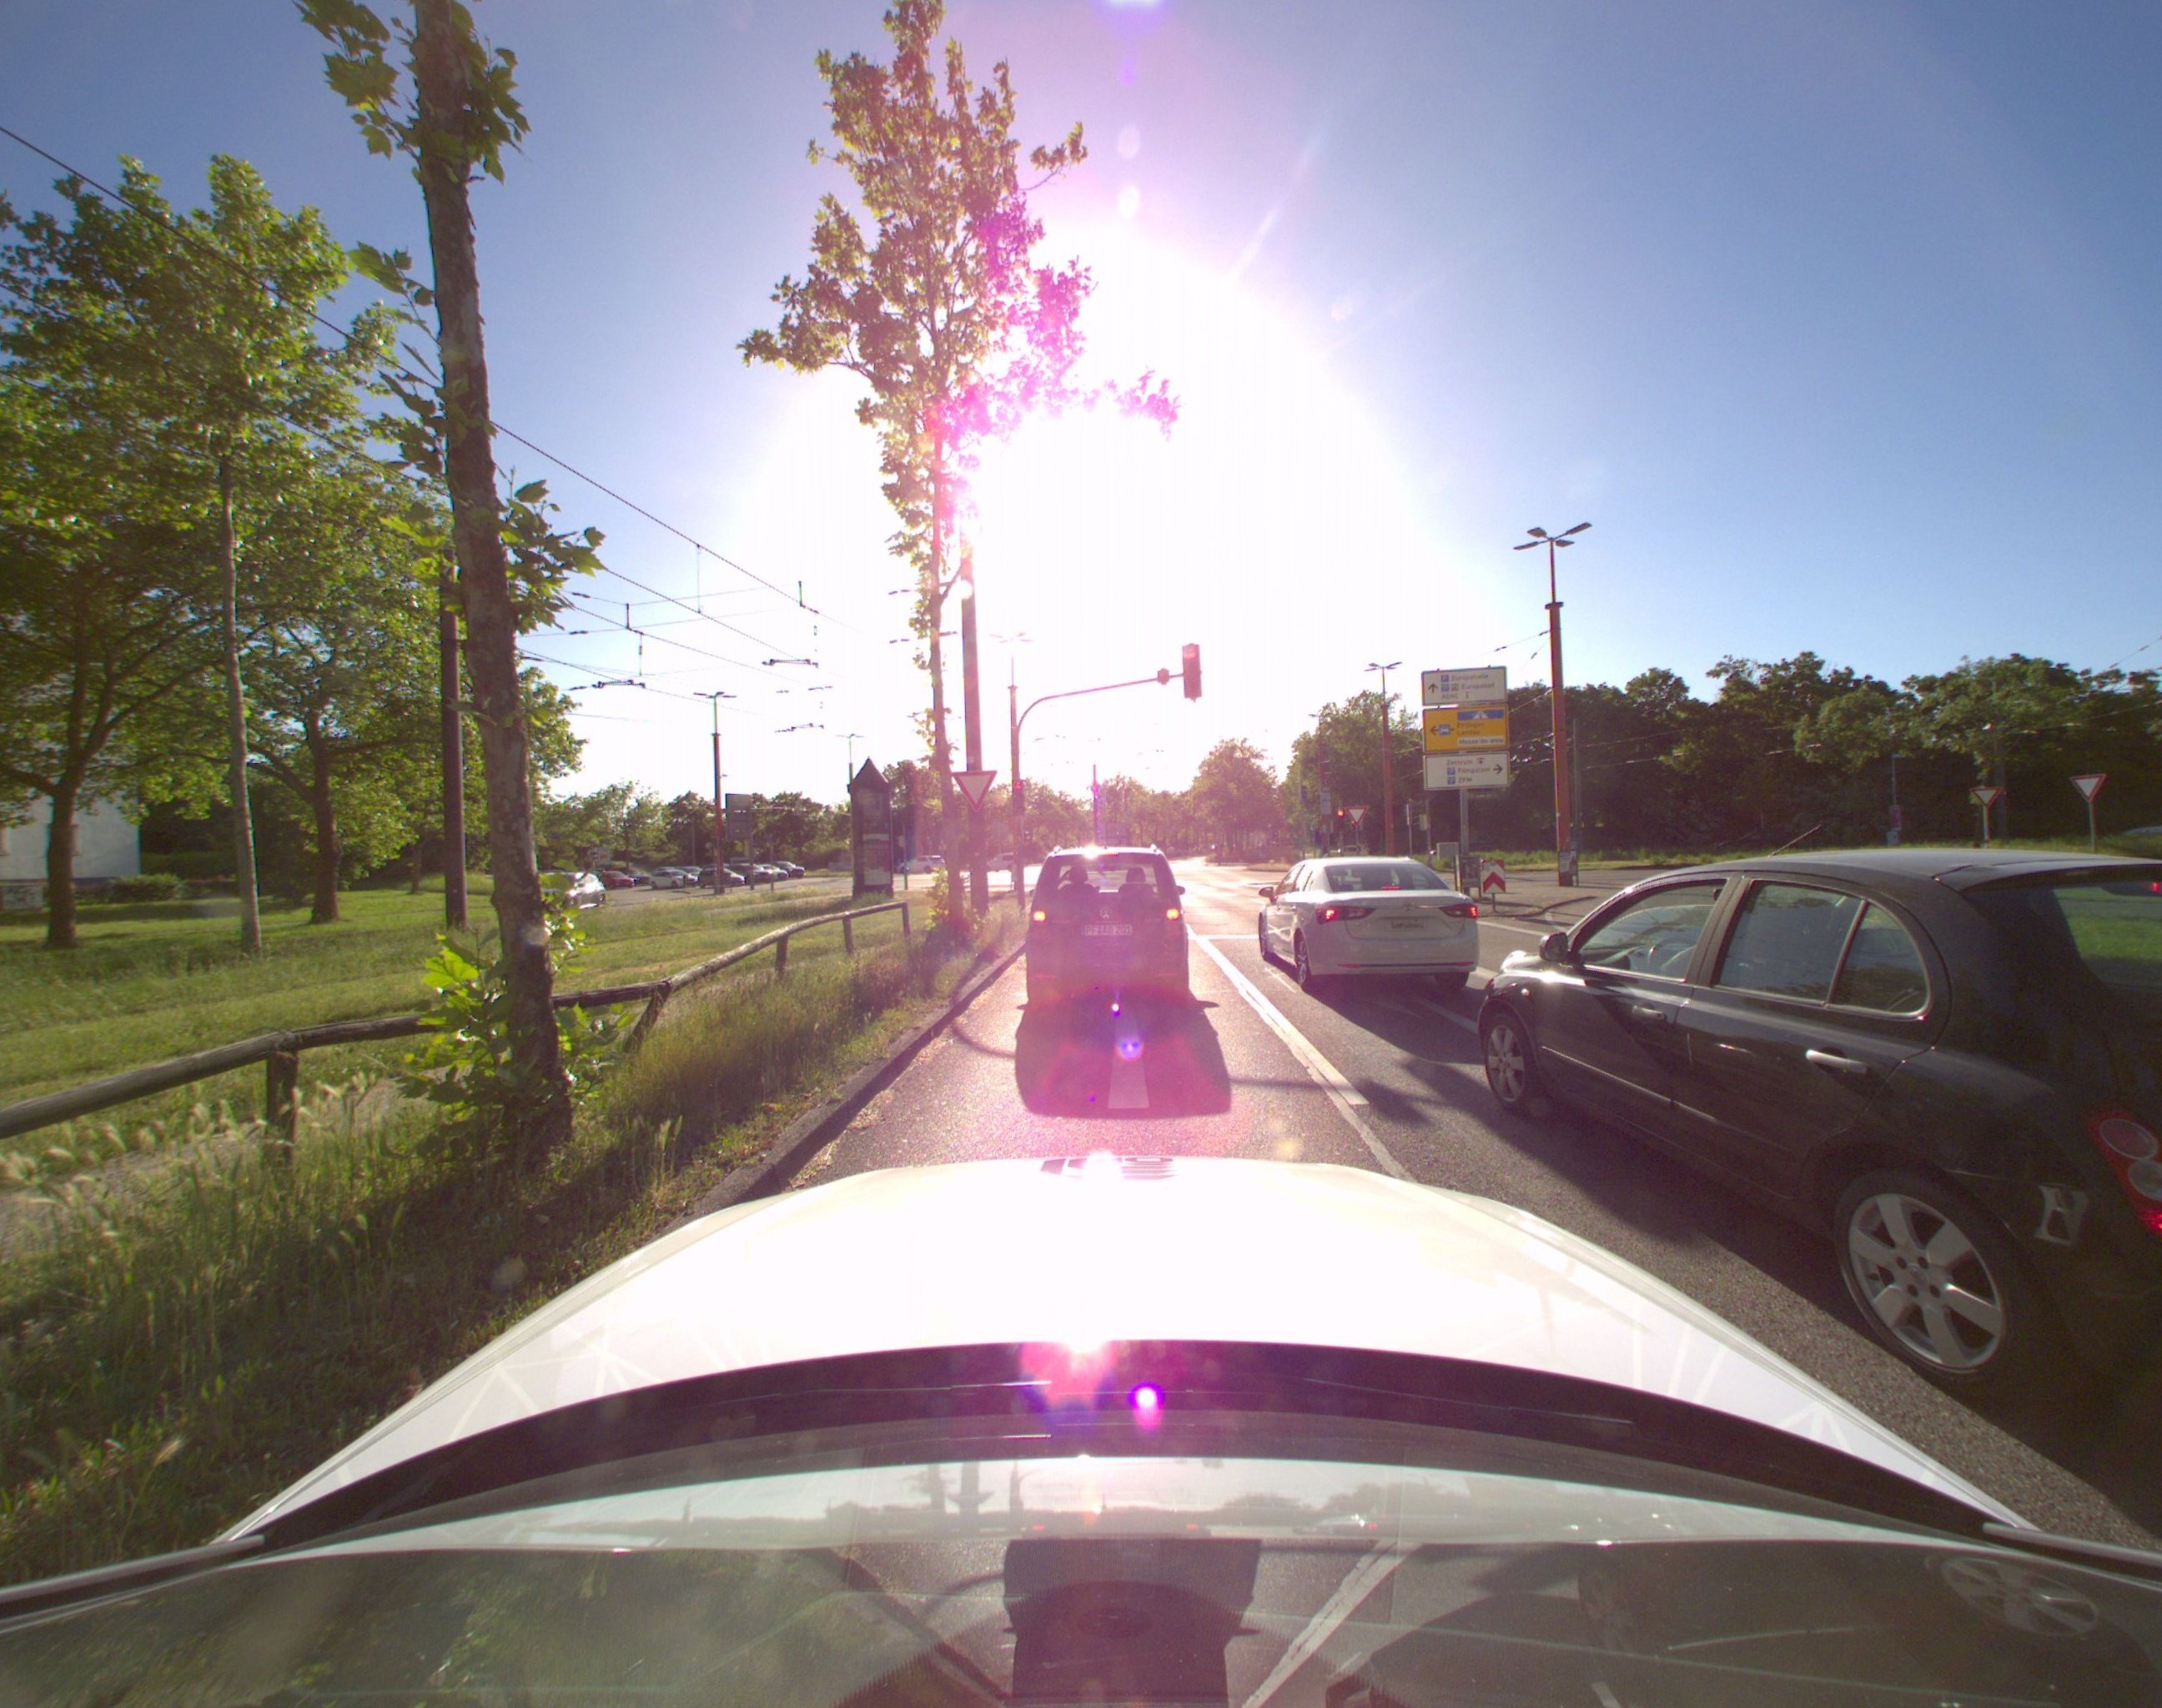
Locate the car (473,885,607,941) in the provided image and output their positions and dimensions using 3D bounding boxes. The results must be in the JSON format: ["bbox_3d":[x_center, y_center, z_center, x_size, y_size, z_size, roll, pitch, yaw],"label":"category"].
[{"bbox_3d":[-18.690,1.984,28.419,1.645,1.618,4.297,-1,0,2],"label":"car"}]

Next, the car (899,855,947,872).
[{"bbox_3d":[-15.483,0.952,79.770,4.616,1.625,1.667,-1,0,28],"label":"car"}]

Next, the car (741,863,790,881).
[{"bbox_3d":[-26.837,1.522,69.186,4.102,1.415,1.553,-1,0,28],"label":"car"}]

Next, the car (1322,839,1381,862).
[{"bbox_3d":[21.290,-0.249,64.192,4.164,1.681,1.667,-1,0,28],"label":"car"}]

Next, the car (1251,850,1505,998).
[{"bbox_3d":[3.369,0.708,10.188,1.792,1.440,4.329,0,0,3],"label":"car"}]

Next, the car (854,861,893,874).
[{"bbox_3d":[-24.486,1.573,96.153,4.086,1.403,1.664,-1,0,17],"label":"car"}]

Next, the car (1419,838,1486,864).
[{"bbox_3d":[25.788,-0.221,56.561,4.165,1.681,1.666,-1,0,25],"label":"car"}]

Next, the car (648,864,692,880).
[{"bbox_3d":[-38.202,1.667,75.705,4.102,1.415,1.553,-1,0,28],"label":"car"}]

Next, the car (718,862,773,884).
[{"bbox_3d":[-26.930,1.515,65.349,4.583,1.647,1.667,-1,0,32],"label":"car"}]

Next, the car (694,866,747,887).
[{"bbox_3d":[-27.259,1.693,61.525,3.793,1.441,1.667,-1,0,29],"label":"car"}]

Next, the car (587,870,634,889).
[{"bbox_3d":[-39.446,2.149,68.249,4.145,1.520,1.667,-1,0,32],"label":"car"}]

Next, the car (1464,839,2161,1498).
[{"bbox_3d":[3.176,0.695,3.489,1.570,1.440,3.443,0,-1,2],"label":"car"}]

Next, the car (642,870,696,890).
[{"bbox_3d":[-32.780,2.075,64.800,4.577,1.520,1.667,-1,0,32],"label":"car"}]

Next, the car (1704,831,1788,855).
[{"bbox_3d":[42.658,-0.694,52.345,3.877,1.457,1.667,-1,0,29],"label":"car"}]

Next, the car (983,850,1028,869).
[{"bbox_3d":[-7.377,0.562,79.857,4.081,1.750,1.666,-1,0,26],"label":"car"}]

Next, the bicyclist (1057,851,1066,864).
[{"bbox_3d":[-2.844,0.509,116.352,0.969,1.904,1.055,-2,0,14],"label":"bicyclist"}]

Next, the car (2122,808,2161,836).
[{"bbox_3d":[58.817,-1.741,43.309,3.877,1.457,1.667,-1,0,28],"label":"car"}]

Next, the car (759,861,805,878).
[{"bbox_3d":[-26.734,1.380,72.810,4.102,1.415,1.553,-1,0,28],"label":"car"}]

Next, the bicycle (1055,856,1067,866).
[{"bbox_3d":[-2.843,0.933,116.309,0.969,1.388,2.991,-2,0,15],"label":"bicycle"}]

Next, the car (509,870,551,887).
[{"bbox_3d":[-51.130,2.259,75.520,4.145,1.520,1.667,-1,0,32],"label":"car"}]

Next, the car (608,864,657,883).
[{"bbox_3d":[-40.460,1.726,73.430,4.583,1.647,1.767,-1,0,32],"label":"car"}]

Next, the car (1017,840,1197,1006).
[{"bbox_3d":[0.362,0.689,10.083,1.731,1.602,4.329,0,-1,3],"label":"car"}]
